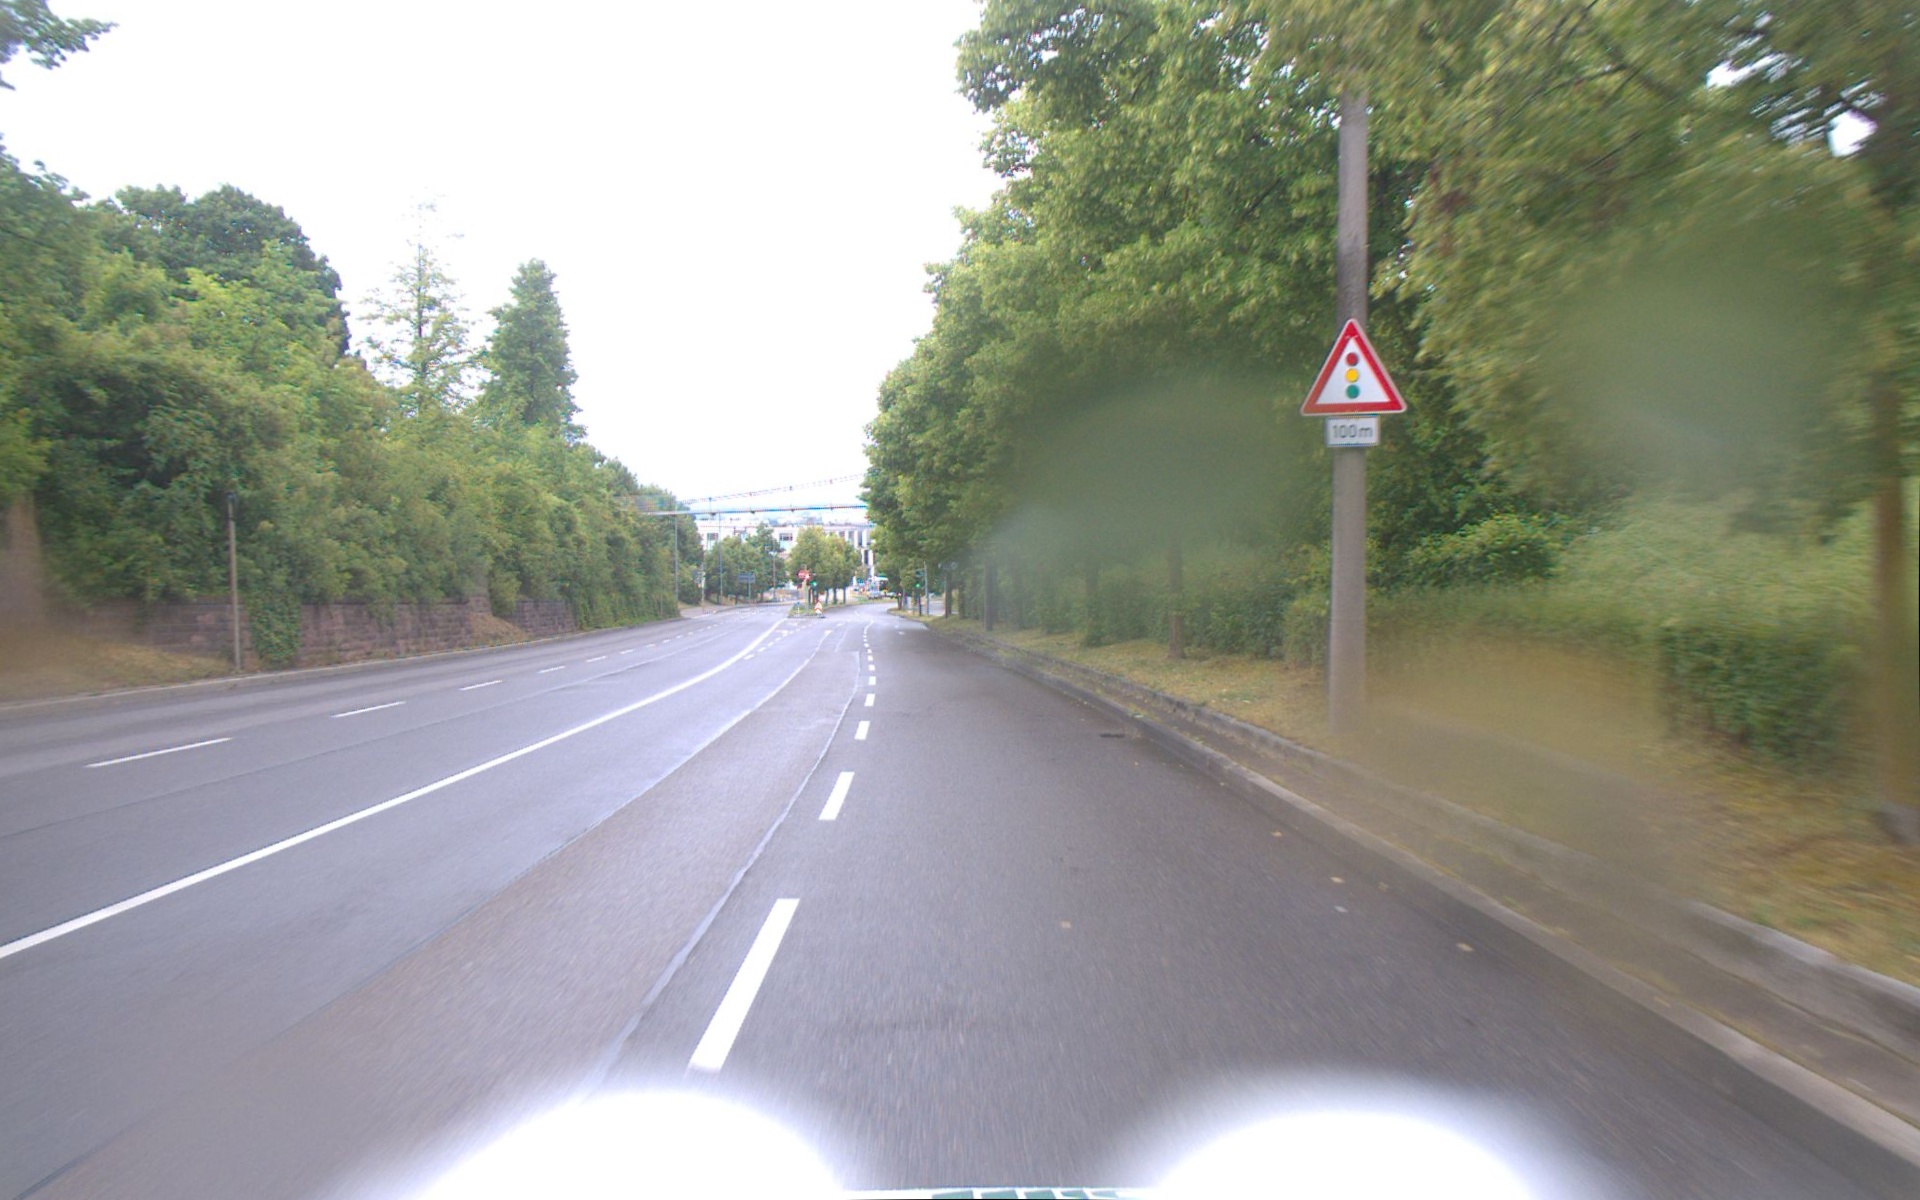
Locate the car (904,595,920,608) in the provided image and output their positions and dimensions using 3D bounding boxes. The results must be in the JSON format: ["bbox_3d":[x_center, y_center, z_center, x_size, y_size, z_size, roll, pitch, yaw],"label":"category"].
[{"bbox_3d":[-6.708,0.205,232.069,1.810,1.732,3.794,1,-1,3],"label":"car"}]
